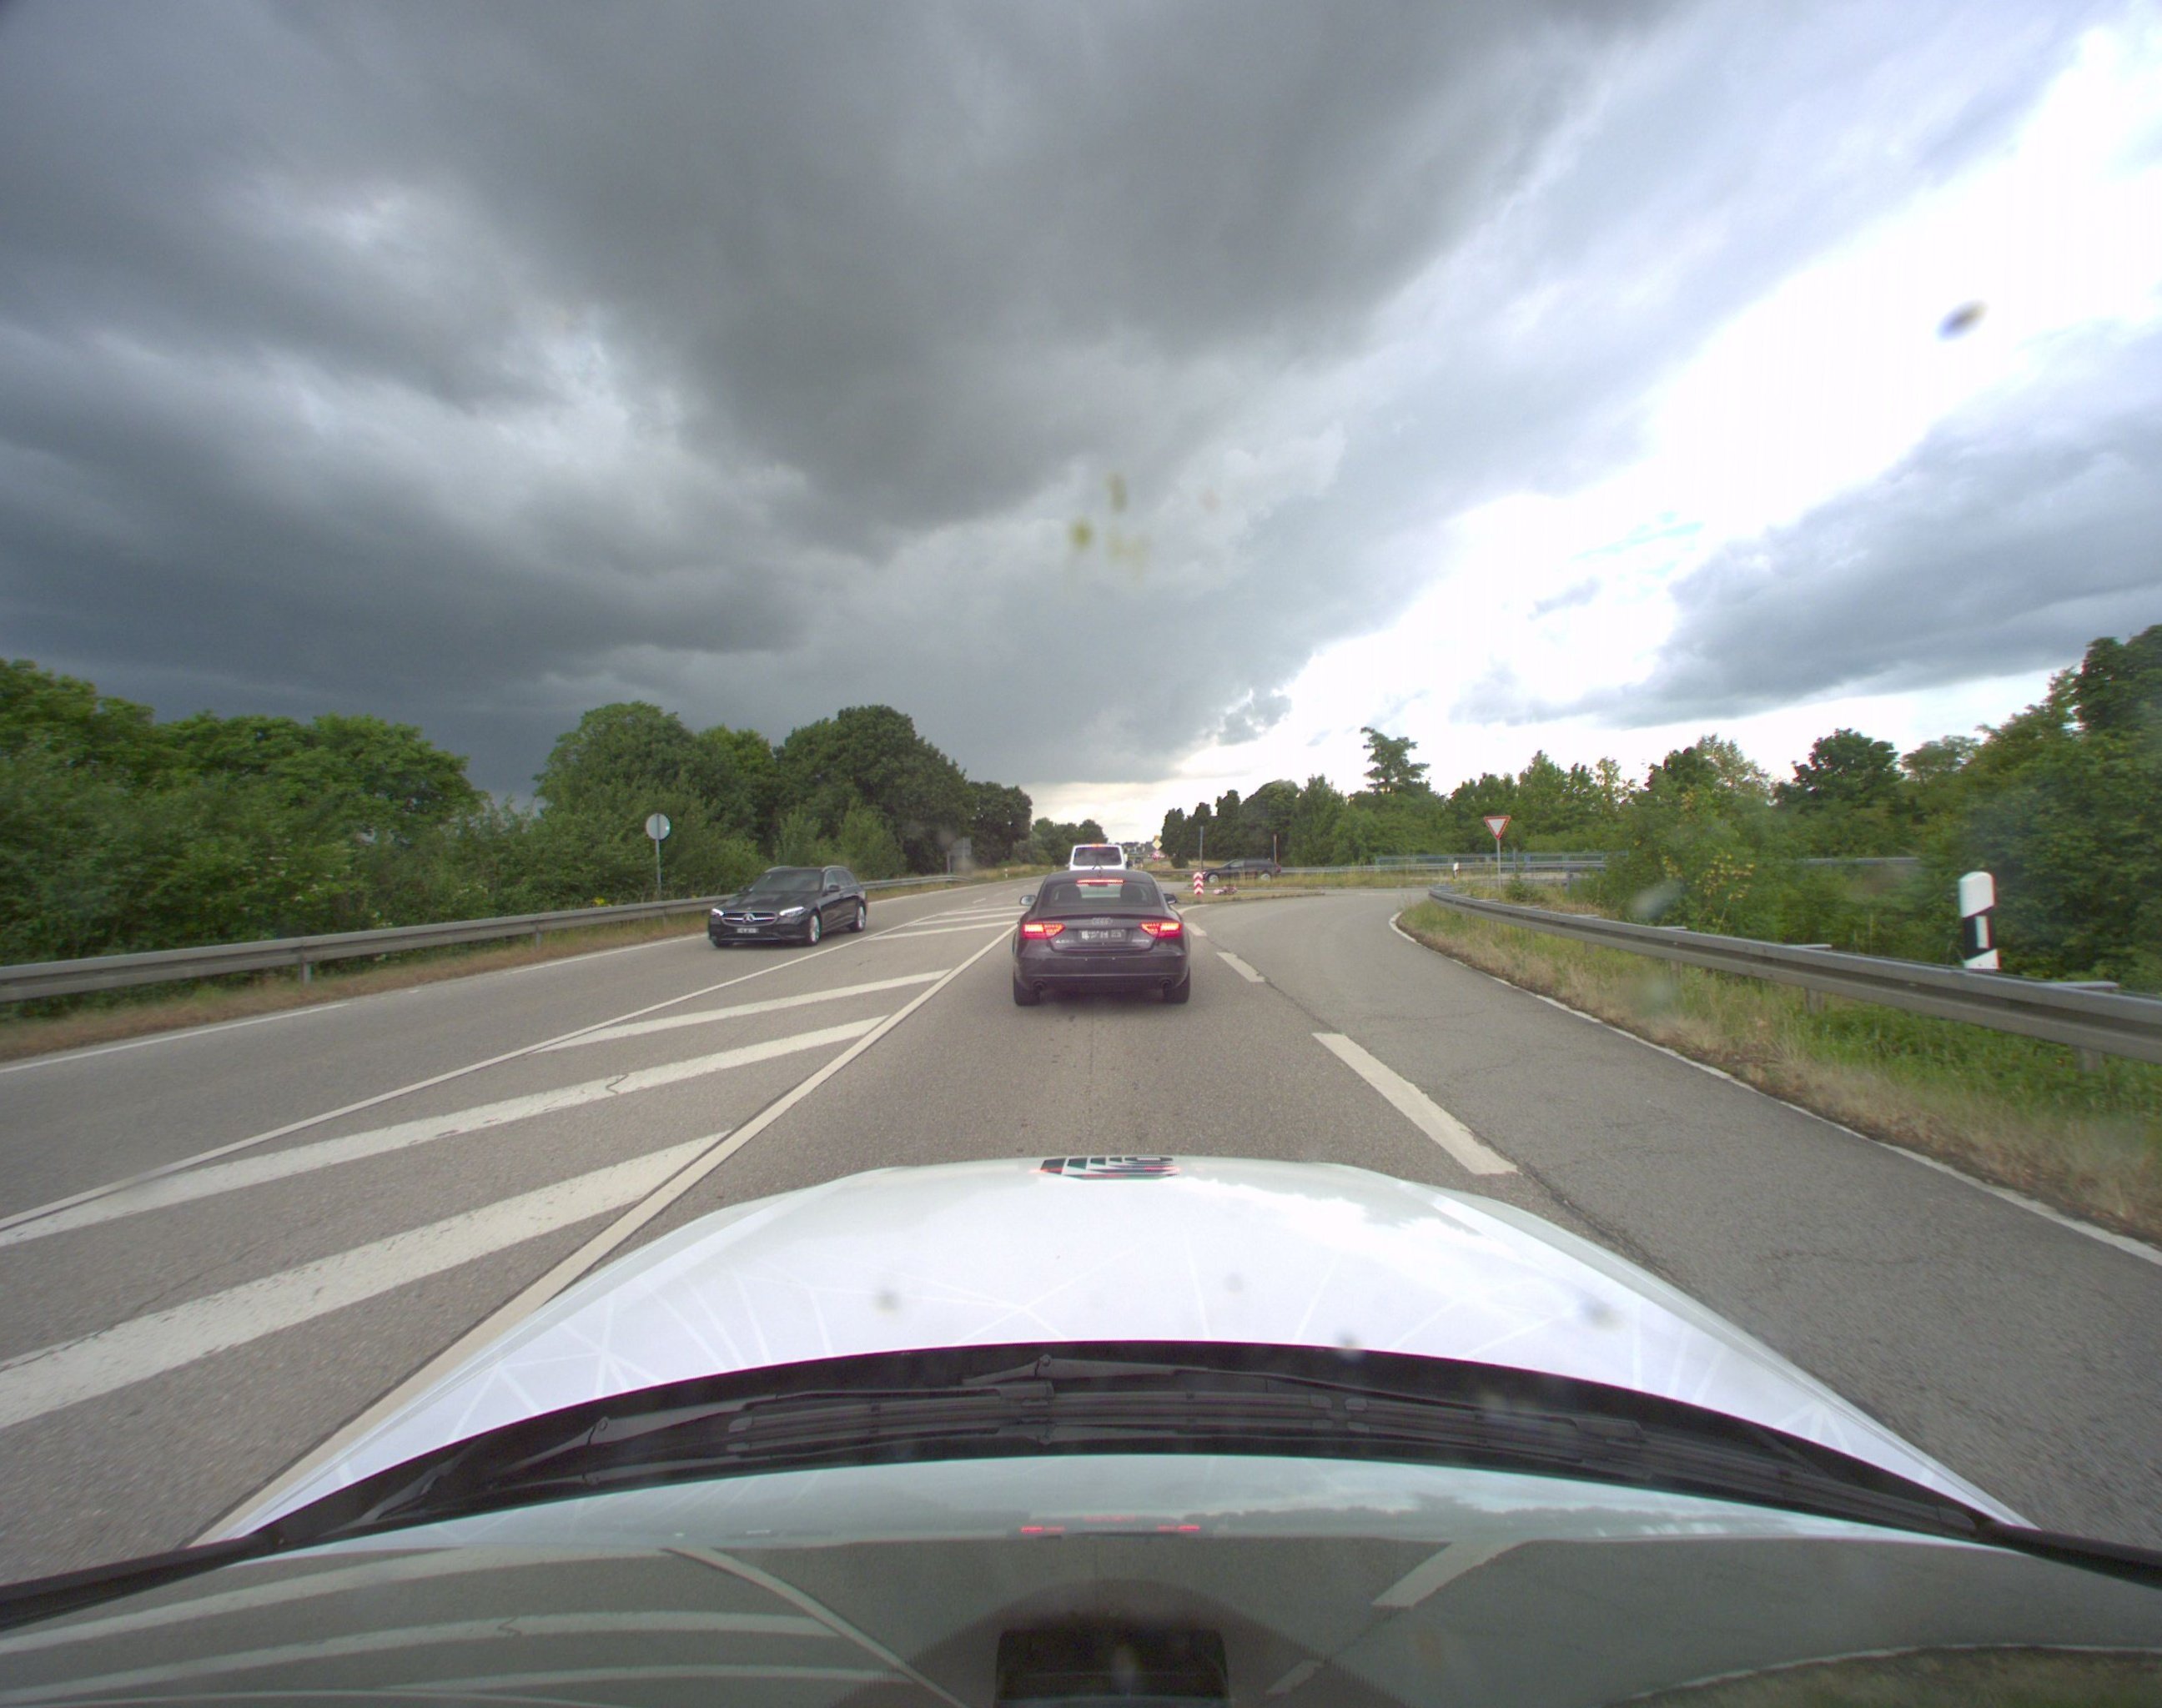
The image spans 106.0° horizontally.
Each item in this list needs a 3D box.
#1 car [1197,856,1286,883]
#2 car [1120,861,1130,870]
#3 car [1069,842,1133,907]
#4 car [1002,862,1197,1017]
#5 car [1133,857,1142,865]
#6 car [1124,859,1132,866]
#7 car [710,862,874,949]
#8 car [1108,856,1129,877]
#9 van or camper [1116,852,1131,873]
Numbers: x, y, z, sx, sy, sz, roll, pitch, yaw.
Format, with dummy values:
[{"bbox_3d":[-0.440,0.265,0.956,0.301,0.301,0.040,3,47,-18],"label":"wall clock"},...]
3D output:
[{"bbox_3d":[8.765,0.834,44.836,4.578,1.374,1.827,-1,-1,1],"label":"car"},{"bbox_3d":[6.756,1.779,124.633,1.251,1.353,3.473,-2,-1,8],"label":"car"},{"bbox_3d":[0.644,0.595,25.793,1.832,1.882,4.002,-1,0,2],"label":"car"},{"bbox_3d":[0.233,0.811,9.489,1.776,1.376,4.002,-1,0,2],"label":"car"},{"bbox_3d":[13.639,1.654,197.565,1.986,2.013,4.001,0,0,1],"label":"car"},{"bbox_3d":[9.798,1.793,169.370,1.712,1.451,4.003,0,0,3],"label":"car"},{"bbox_3d":[-5.559,0.916,16.267,1.665,1.429,4.258,-1,0,1],"label":"car"},{"bbox_3d":[3.906,1.276,84.012,1.984,2.088,4.005,-2,-1,5],"label":"car"},{"bbox_3d":[7.322,1.466,140.457,2.330,3.481,5.724,-1,-1,4],"label":"van or camper"}]
